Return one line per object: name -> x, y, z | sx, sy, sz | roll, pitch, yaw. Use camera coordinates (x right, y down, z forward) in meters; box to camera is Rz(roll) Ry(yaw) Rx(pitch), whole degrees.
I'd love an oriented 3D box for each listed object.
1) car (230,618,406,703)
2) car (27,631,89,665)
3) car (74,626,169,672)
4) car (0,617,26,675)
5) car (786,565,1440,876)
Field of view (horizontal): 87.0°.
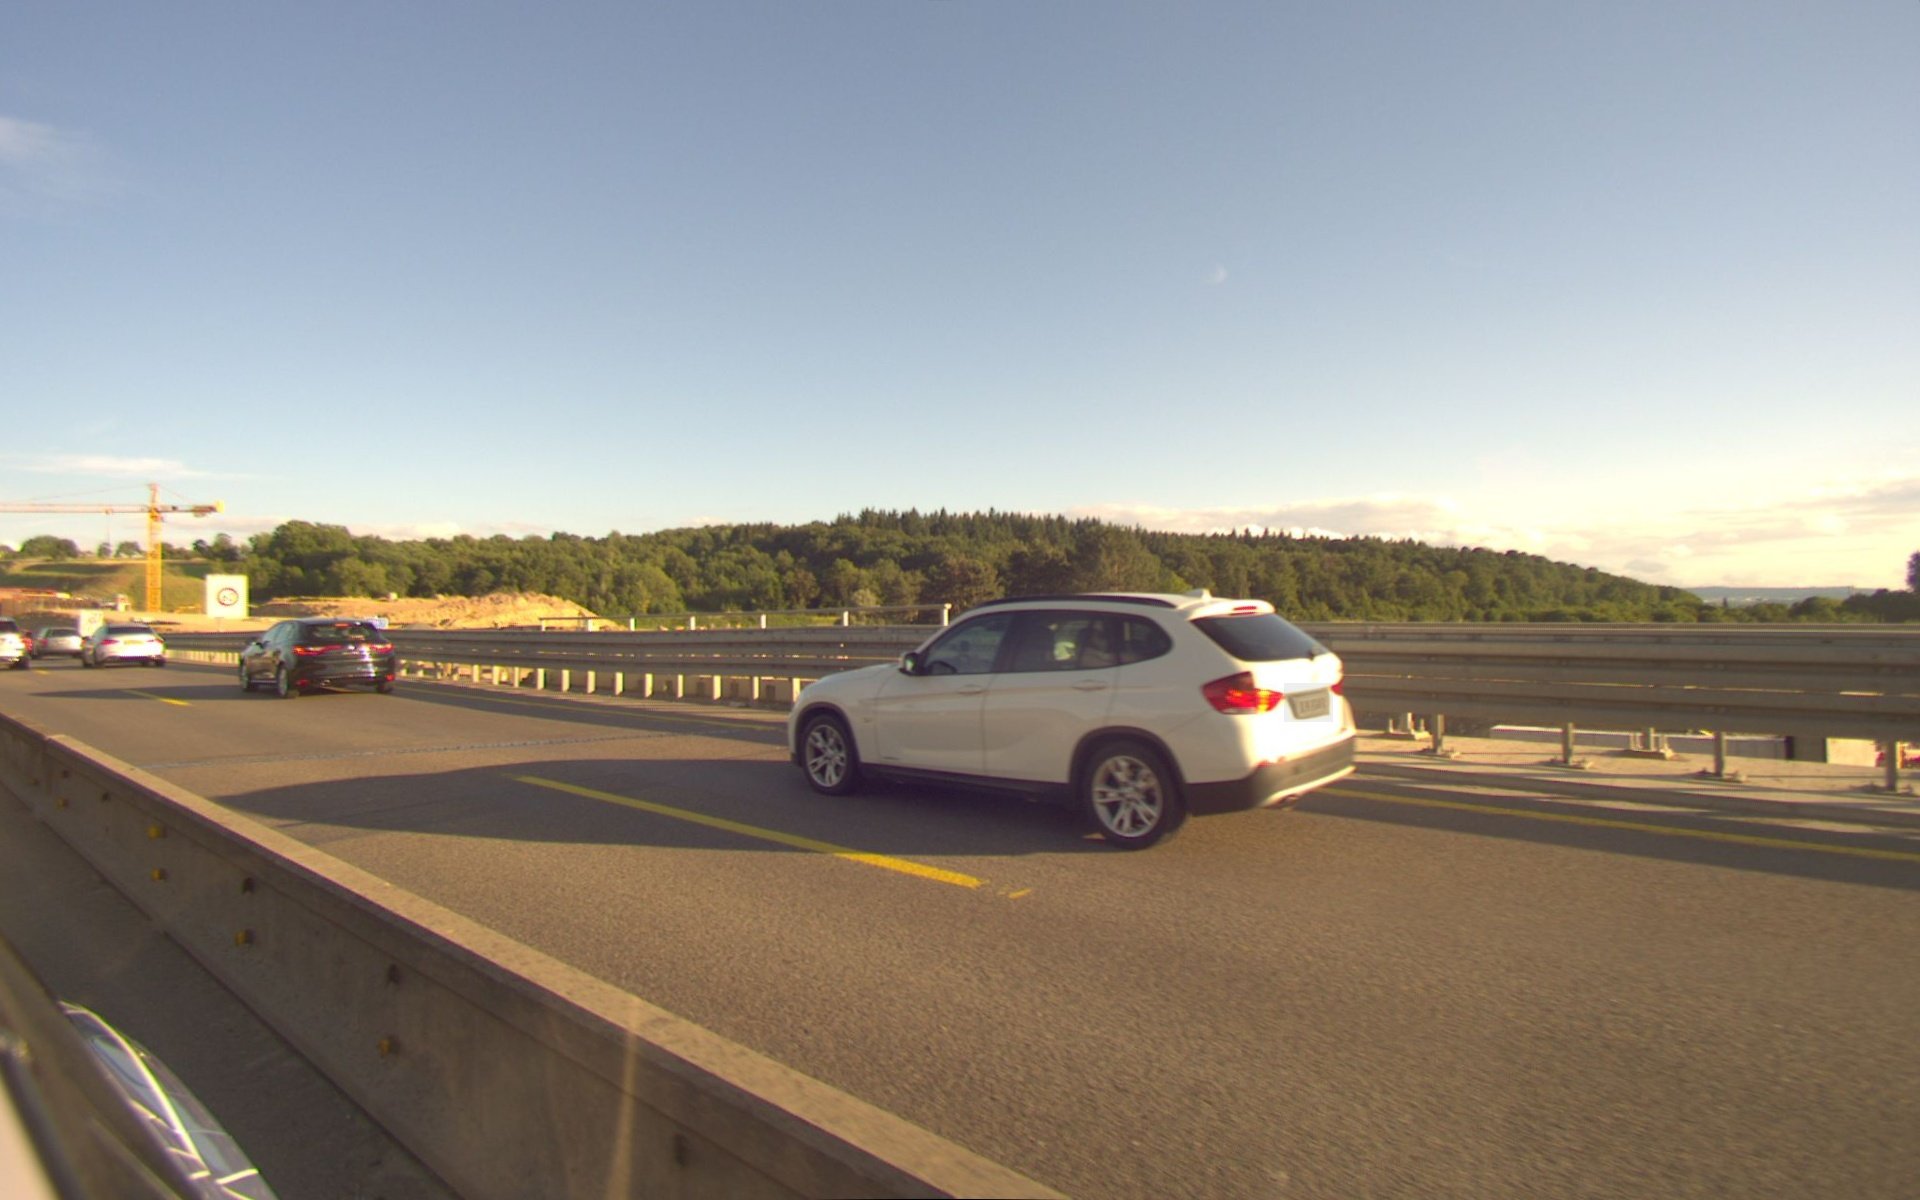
car -> -12.355, 1.097, 19.358 | 4.307, 1.415, 1.757 | -2, -1, 42
car -> -41.670, 2.226, 46.715 | 4.577, 1.433, 1.659 | -3, -1, 42
car -> -27.567, 1.551, 33.223 | 4.531, 1.393, 1.755 | -1, -1, 42
car -> -31.804, 1.490, 32.674 | 4.658, 1.772, 1.973 | -2, -1, 41
car -> 0.856, 0.662, 7.241 | 4.287, 1.558, 1.908 | -2, -2, 42
